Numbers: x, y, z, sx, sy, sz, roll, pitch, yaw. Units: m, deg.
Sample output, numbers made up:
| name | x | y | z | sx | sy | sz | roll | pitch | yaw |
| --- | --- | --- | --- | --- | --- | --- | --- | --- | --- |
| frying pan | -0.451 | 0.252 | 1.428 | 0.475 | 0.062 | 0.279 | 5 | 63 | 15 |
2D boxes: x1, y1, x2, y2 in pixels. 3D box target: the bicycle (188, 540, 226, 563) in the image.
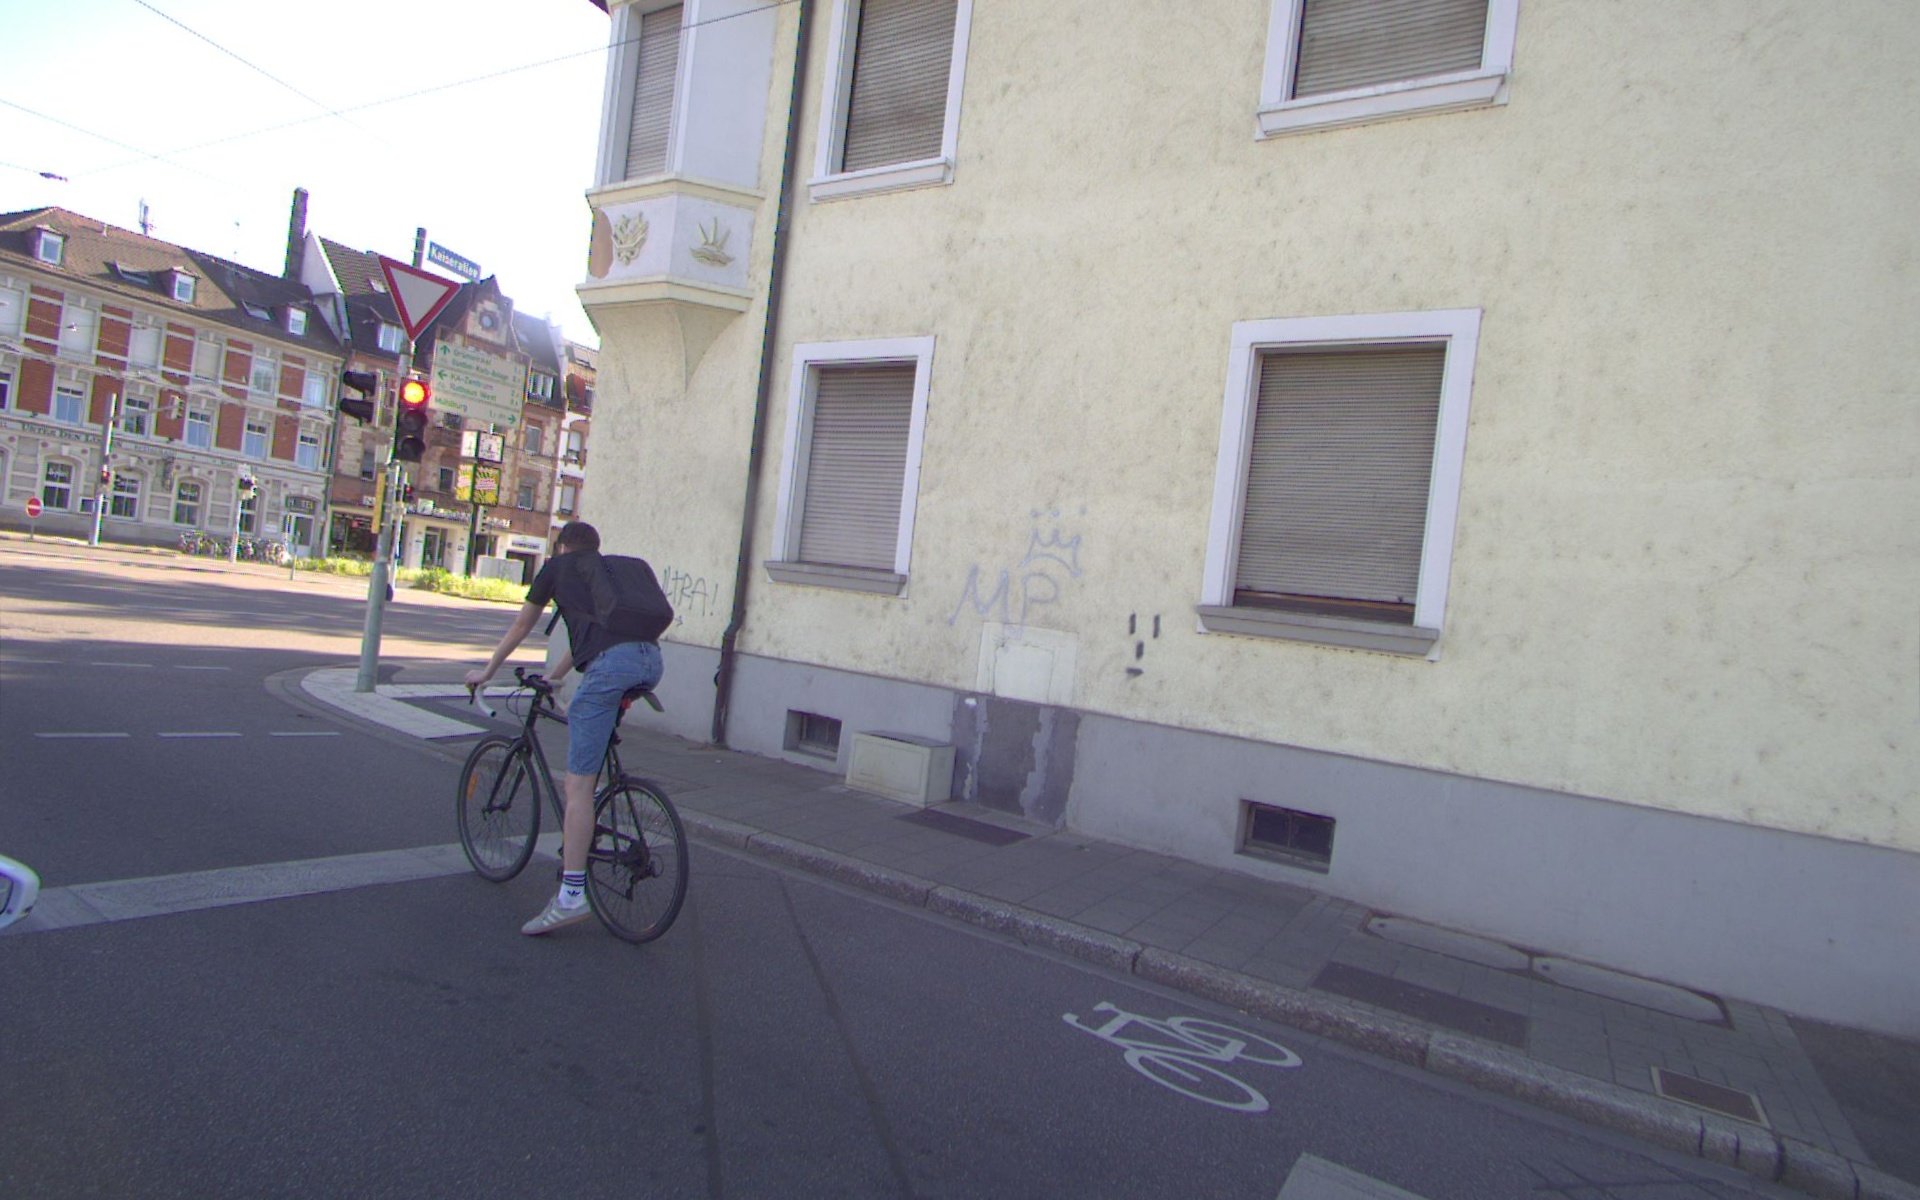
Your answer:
| name | x | y | z | sx | sy | sz | roll | pitch | yaw |
| --- | --- | --- | --- | --- | --- | --- | --- | --- | --- |
| bicycle | -34.553 | -2.232 | 46.146 | 2.125 | 0.850 | 0.659 | 6 | -2 | 33 |

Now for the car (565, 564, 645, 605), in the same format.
| name | x | y | z | sx | sy | sz | roll | pitch | yaw |
| --- | --- | --- | --- | --- | --- | --- | --- | --- | --- |
| car | -23.012 | -1.000 | 65.326 | 1.968 | 2.038 | 4.430 | 7 | -1 | 34 |

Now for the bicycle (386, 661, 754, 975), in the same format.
| name | x | y | z | sx | sy | sz | roll | pitch | yaw |
| --- | --- | --- | --- | --- | --- | --- | --- | --- | --- |
| bicycle | -1.791 | 0.879 | 4.508 | 1.721 | 0.982 | 0.519 | 7 | 0 | 32 |

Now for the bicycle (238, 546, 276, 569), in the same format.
| name | x | y | z | sx | sy | sz | roll | pitch | yaw |
| --- | --- | --- | --- | --- | --- | --- | --- | --- | --- |
| bicycle | -33.490 | -2.022 | 47.894 | 2.125 | 0.850 | 0.659 | 6 | -2 | 33 |

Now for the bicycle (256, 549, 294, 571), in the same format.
| name | x | y | z | sx | sy | sz | roll | pitch | yaw |
| --- | --- | --- | --- | --- | --- | --- | --- | --- | --- |
| bicycle | -33.102 | -1.943 | 48.599 | 2.125 | 0.850 | 0.659 | 6 | -2 | 33 |

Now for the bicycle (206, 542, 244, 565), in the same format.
| name | x | y | z | sx | sy | sz | roll | pitch | yaw |
| --- | --- | --- | --- | --- | --- | --- | --- | --- | --- |
| bicycle | -34.180 | -2.158 | 46.768 | 2.125 | 0.850 | 0.659 | 6 | -2 | 33 |

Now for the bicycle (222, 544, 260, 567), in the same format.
| name | x | y | z | sx | sy | sz | roll | pitch | yaw |
| --- | --- | --- | --- | --- | --- | --- | --- | --- | --- |
| bicycle | -33.845 | -2.090 | 47.364 | 2.125 | 0.850 | 0.659 | 6 | -2 | 33 |

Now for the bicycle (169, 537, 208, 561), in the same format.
| name | x | y | z | sx | sy | sz | roll | pitch | yaw |
| --- | --- | --- | --- | --- | --- | --- | --- | --- | --- |
| bicycle | -34.869 | -2.300 | 45.479 | 2.125 | 0.850 | 0.659 | 6 | -2 | 33 |

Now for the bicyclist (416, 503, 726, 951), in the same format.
| name | x | y | z | sx | sy | sz | roll | pitch | yaw |
| --- | --- | --- | --- | --- | --- | --- | --- | --- | --- |
| bicyclist | -1.743 | 0.495 | 4.487 | 1.098 | 1.722 | 0.573 | 7 | 0 | 32 |
